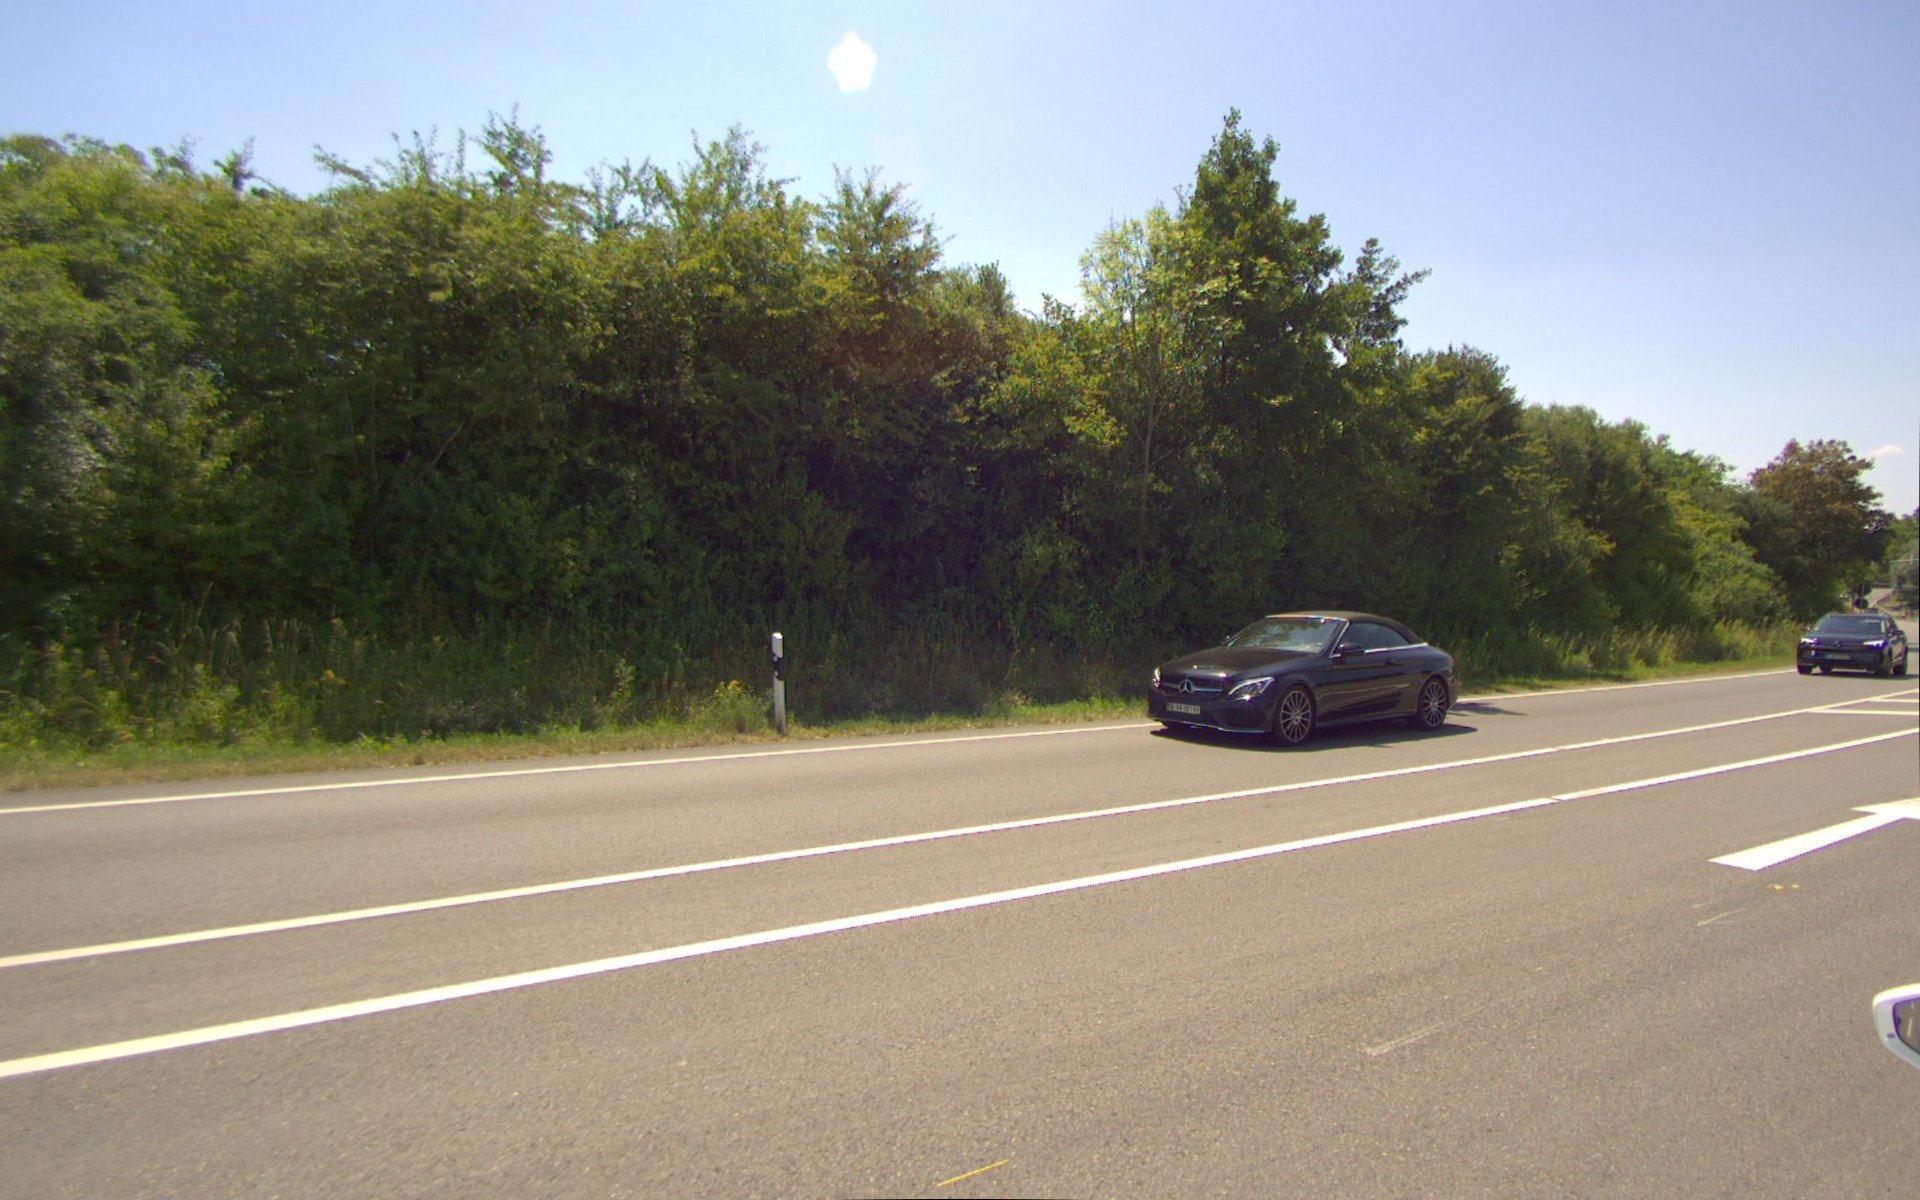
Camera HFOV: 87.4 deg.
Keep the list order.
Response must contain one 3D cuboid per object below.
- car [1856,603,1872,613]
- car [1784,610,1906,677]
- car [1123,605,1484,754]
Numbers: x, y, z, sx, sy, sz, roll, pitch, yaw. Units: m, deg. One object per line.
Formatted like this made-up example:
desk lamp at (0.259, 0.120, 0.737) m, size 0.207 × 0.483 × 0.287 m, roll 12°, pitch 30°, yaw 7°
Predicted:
car at (165.228, 1.504, 183.571) m, size 1.972 × 1.706 × 3.976 m, roll 2°, pitch 1°, yaw 44°
car at (24.079, 1.127, 27.267) m, size 4.647 × 1.614 × 1.975 m, roll 1°, pitch 0°, yaw -42°
car at (4.264, 0.839, 12.157) m, size 4.598 × 1.461 × 1.805 m, roll 1°, pitch 0°, yaw -36°
